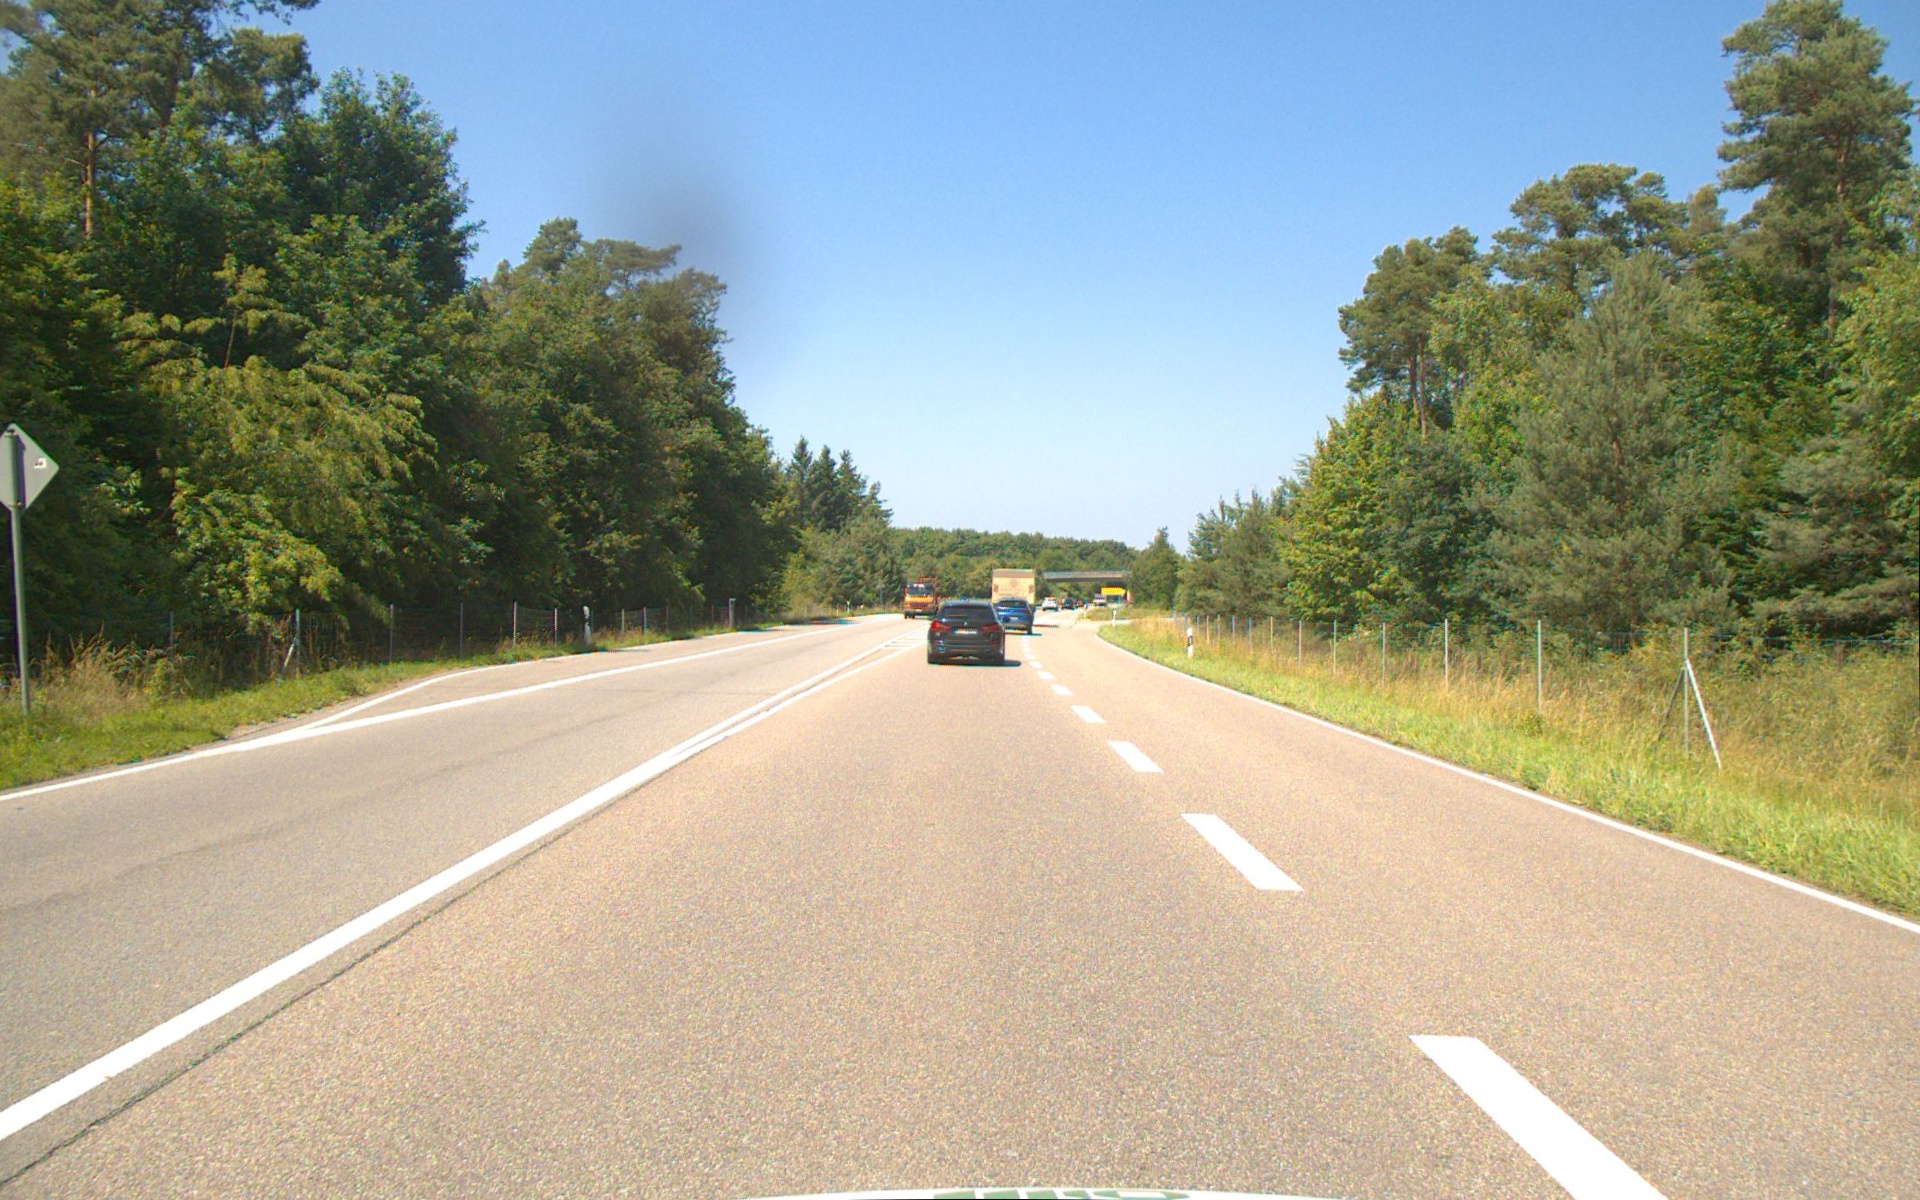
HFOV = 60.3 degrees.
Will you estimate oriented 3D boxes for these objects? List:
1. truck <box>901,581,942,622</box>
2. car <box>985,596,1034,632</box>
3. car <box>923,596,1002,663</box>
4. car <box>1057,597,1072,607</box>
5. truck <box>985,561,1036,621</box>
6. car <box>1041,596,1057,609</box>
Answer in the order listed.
[{"bbox_3d":[-2.711,0.079,117.114,2.348,2.770,6.554,1,0,3],"label":"truck"},{"bbox_3d":[2.210,0.628,74.736,1.908,1.569,3.998,0,0,-3],"label":"car"},{"bbox_3d":[0.072,0.668,39.666,1.783,1.496,4.000,0,0,0],"label":"car"},{"bbox_3d":[14.860,0.268,235.095,1.952,1.445,4.002,2,0,4],"label":"car"},{"bbox_3d":[2.974,-0.535,98.863,2.904,3.447,6.439,1,0,1],"label":"truck"},{"bbox_3d":[11.012,0.316,204.390,1.824,1.633,4.001,1,0,2],"label":"car"}]
